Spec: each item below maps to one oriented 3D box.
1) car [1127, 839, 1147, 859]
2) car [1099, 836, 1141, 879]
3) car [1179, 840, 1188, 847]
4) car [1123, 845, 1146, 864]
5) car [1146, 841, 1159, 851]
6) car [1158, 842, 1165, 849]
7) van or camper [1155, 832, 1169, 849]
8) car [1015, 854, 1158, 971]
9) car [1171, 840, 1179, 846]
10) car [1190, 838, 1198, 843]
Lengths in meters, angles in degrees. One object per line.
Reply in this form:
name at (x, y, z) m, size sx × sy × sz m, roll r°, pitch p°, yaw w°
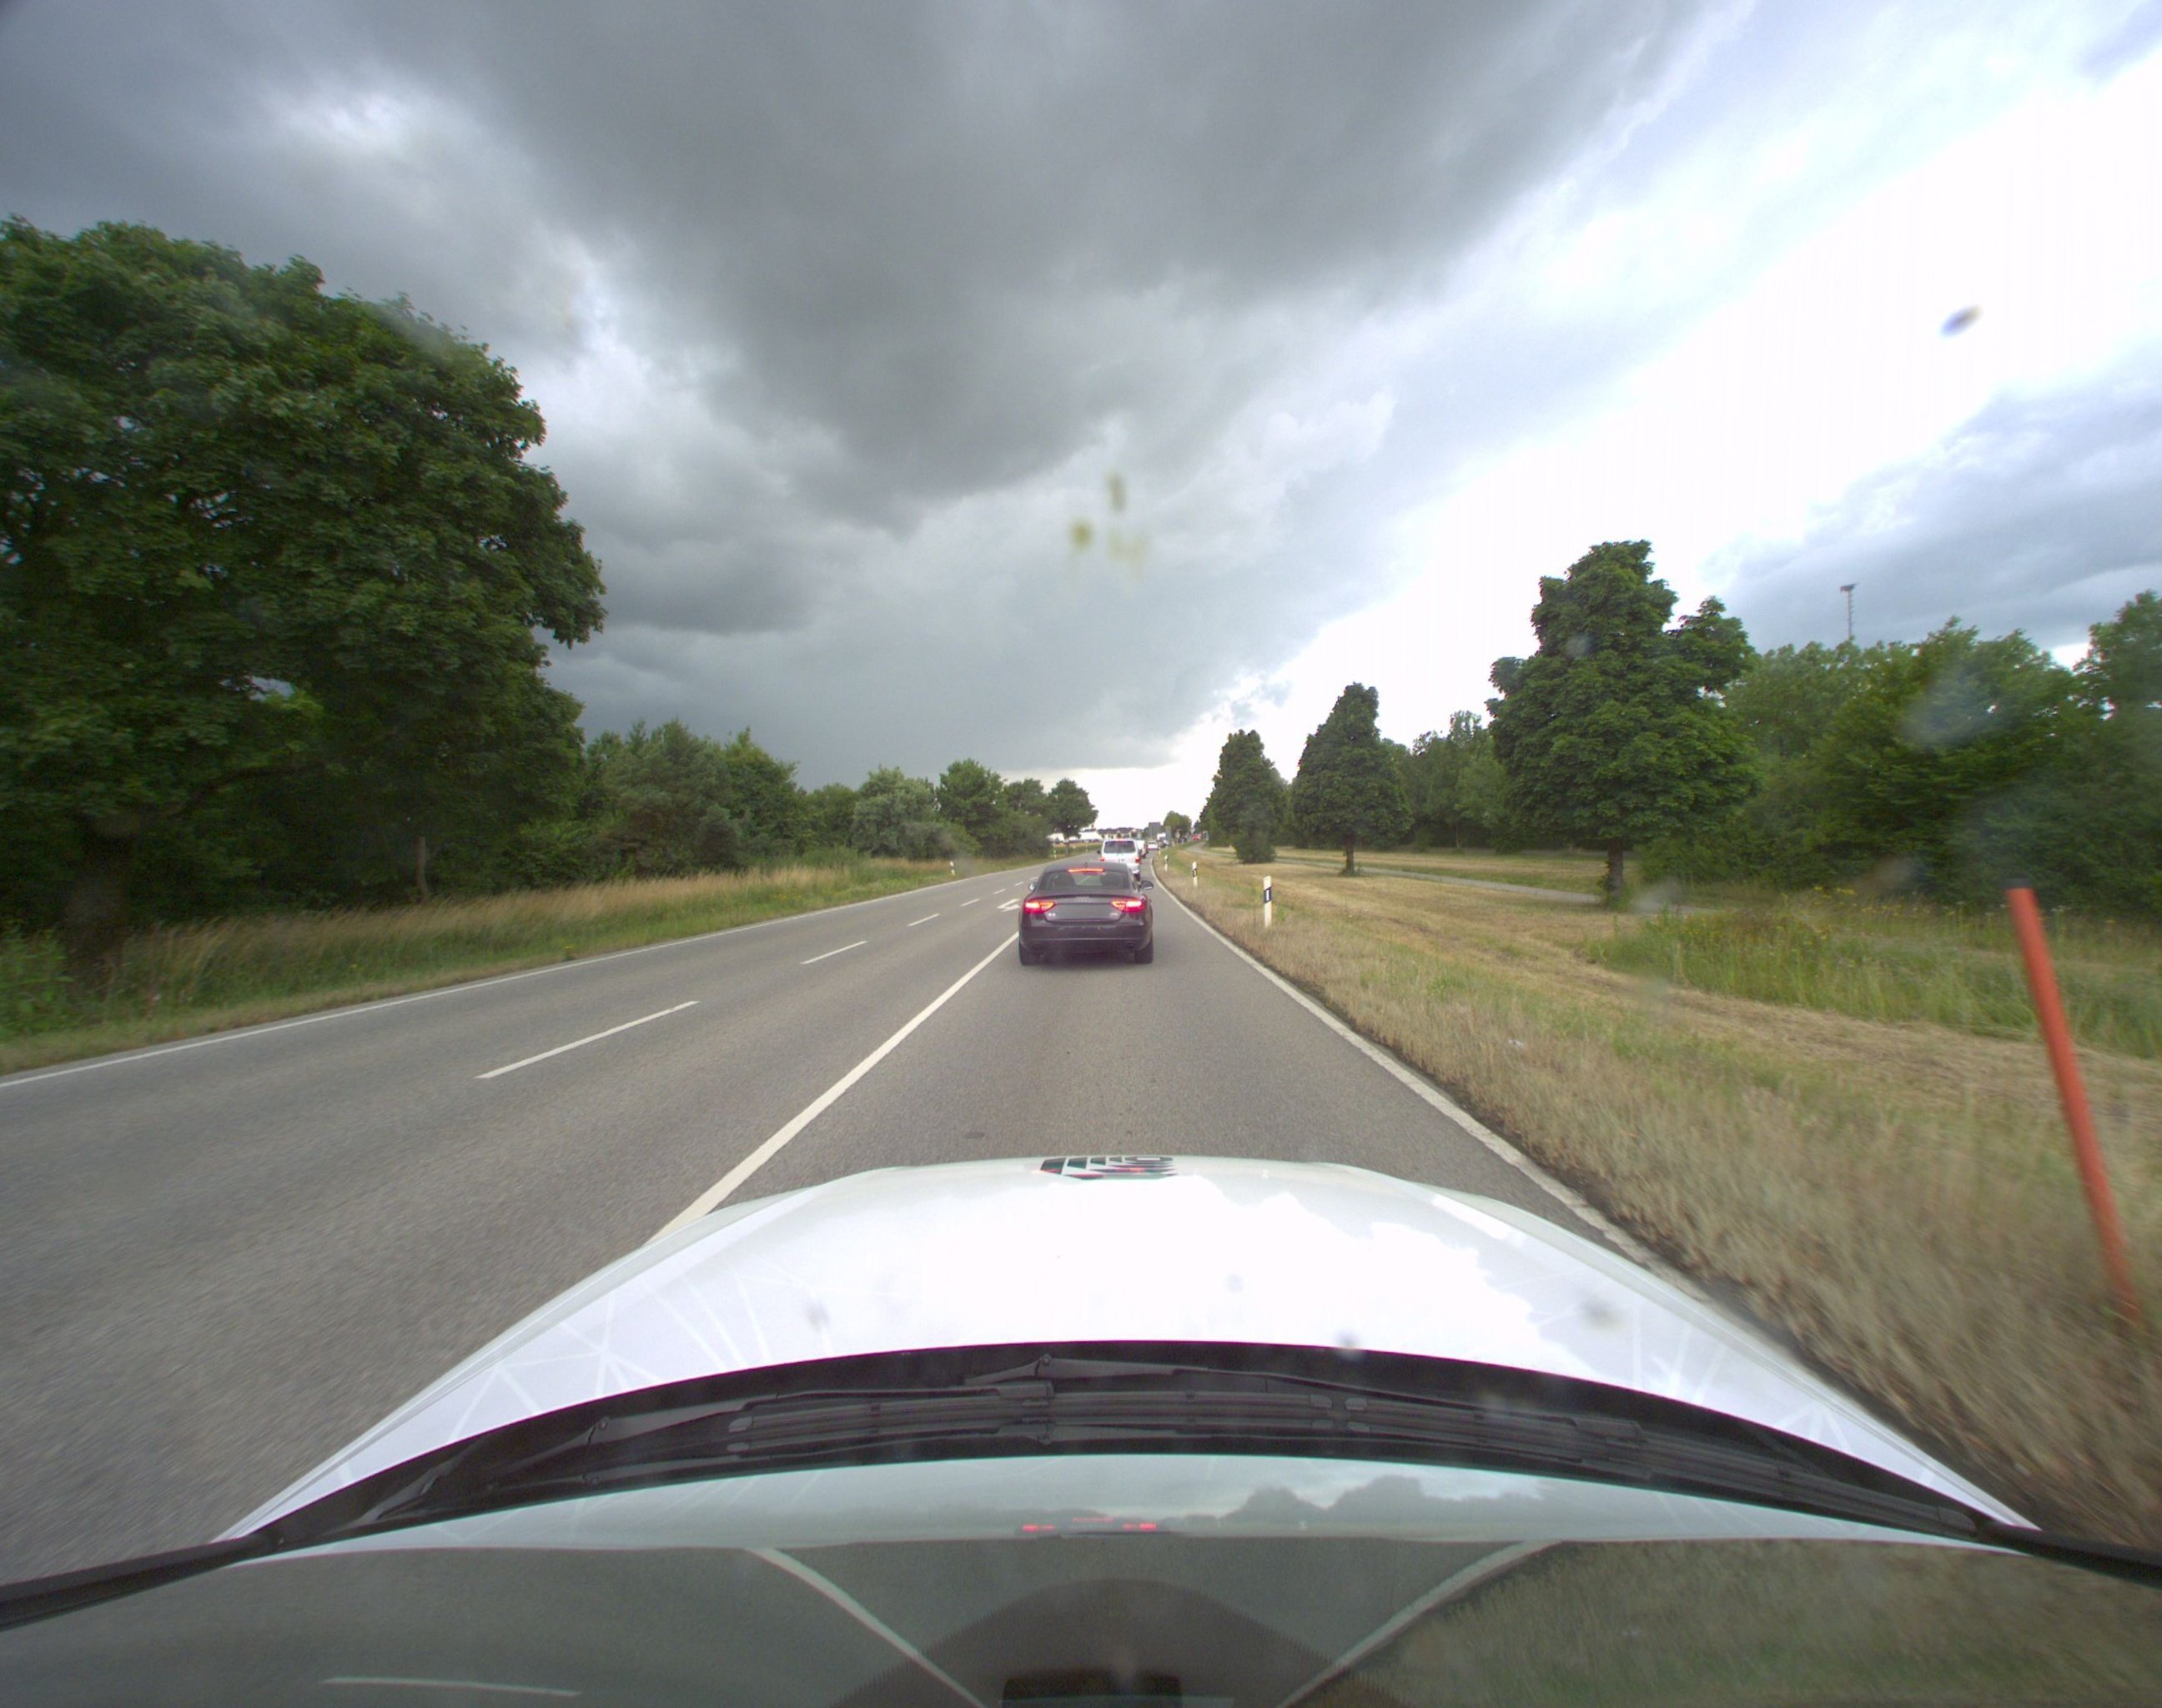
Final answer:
car at (5.892, -0.539, 86.169) m, size 1.985 × 2.088 × 4.005 m, roll -2°, pitch 0°, yaw 4°
car at (1.794, 0.131, 38.337) m, size 1.832 × 1.882 × 4.001 m, roll -1°, pitch 1°, yaw 1°
car at (23.954, -2.521, 190.108) m, size 1.814 × 1.596 × 4.003 m, roll -1°, pitch 1°, yaw 2°
car at (4.390, 0.027, 66.493) m, size 1.787 × 1.464 × 3.253 m, roll -1°, pitch 0°, yaw 5°
car at (11.243, -1.233, 128.054) m, size 1.726 × 1.514 × 3.754 m, roll -2°, pitch 0°, yaw 7°
car at (14.569, -1.549, 147.147) m, size 1.251 × 1.353 × 3.473 m, roll -2°, pitch 0°, yaw 7°
van or camper at (16.611, -2.746, 166.032) m, size 2.326 × 3.481 × 5.735 m, roll -1°, pitch 0°, yaw 10°
car at (0.113, 0.732, 12.203) m, size 1.776 × 1.376 × 4.001 m, roll -1°, pitch 1°, yaw 1°
car at (24.521, -2.906, 211.728) m, size 1.707 × 1.451 × 4.013 m, roll -1°, pitch 1°, yaw 12°
car at (32.745, -4.014, 236.689) m, size 1.814 × 1.493 × 4.003 m, roll -1°, pitch 1°, yaw 2°
